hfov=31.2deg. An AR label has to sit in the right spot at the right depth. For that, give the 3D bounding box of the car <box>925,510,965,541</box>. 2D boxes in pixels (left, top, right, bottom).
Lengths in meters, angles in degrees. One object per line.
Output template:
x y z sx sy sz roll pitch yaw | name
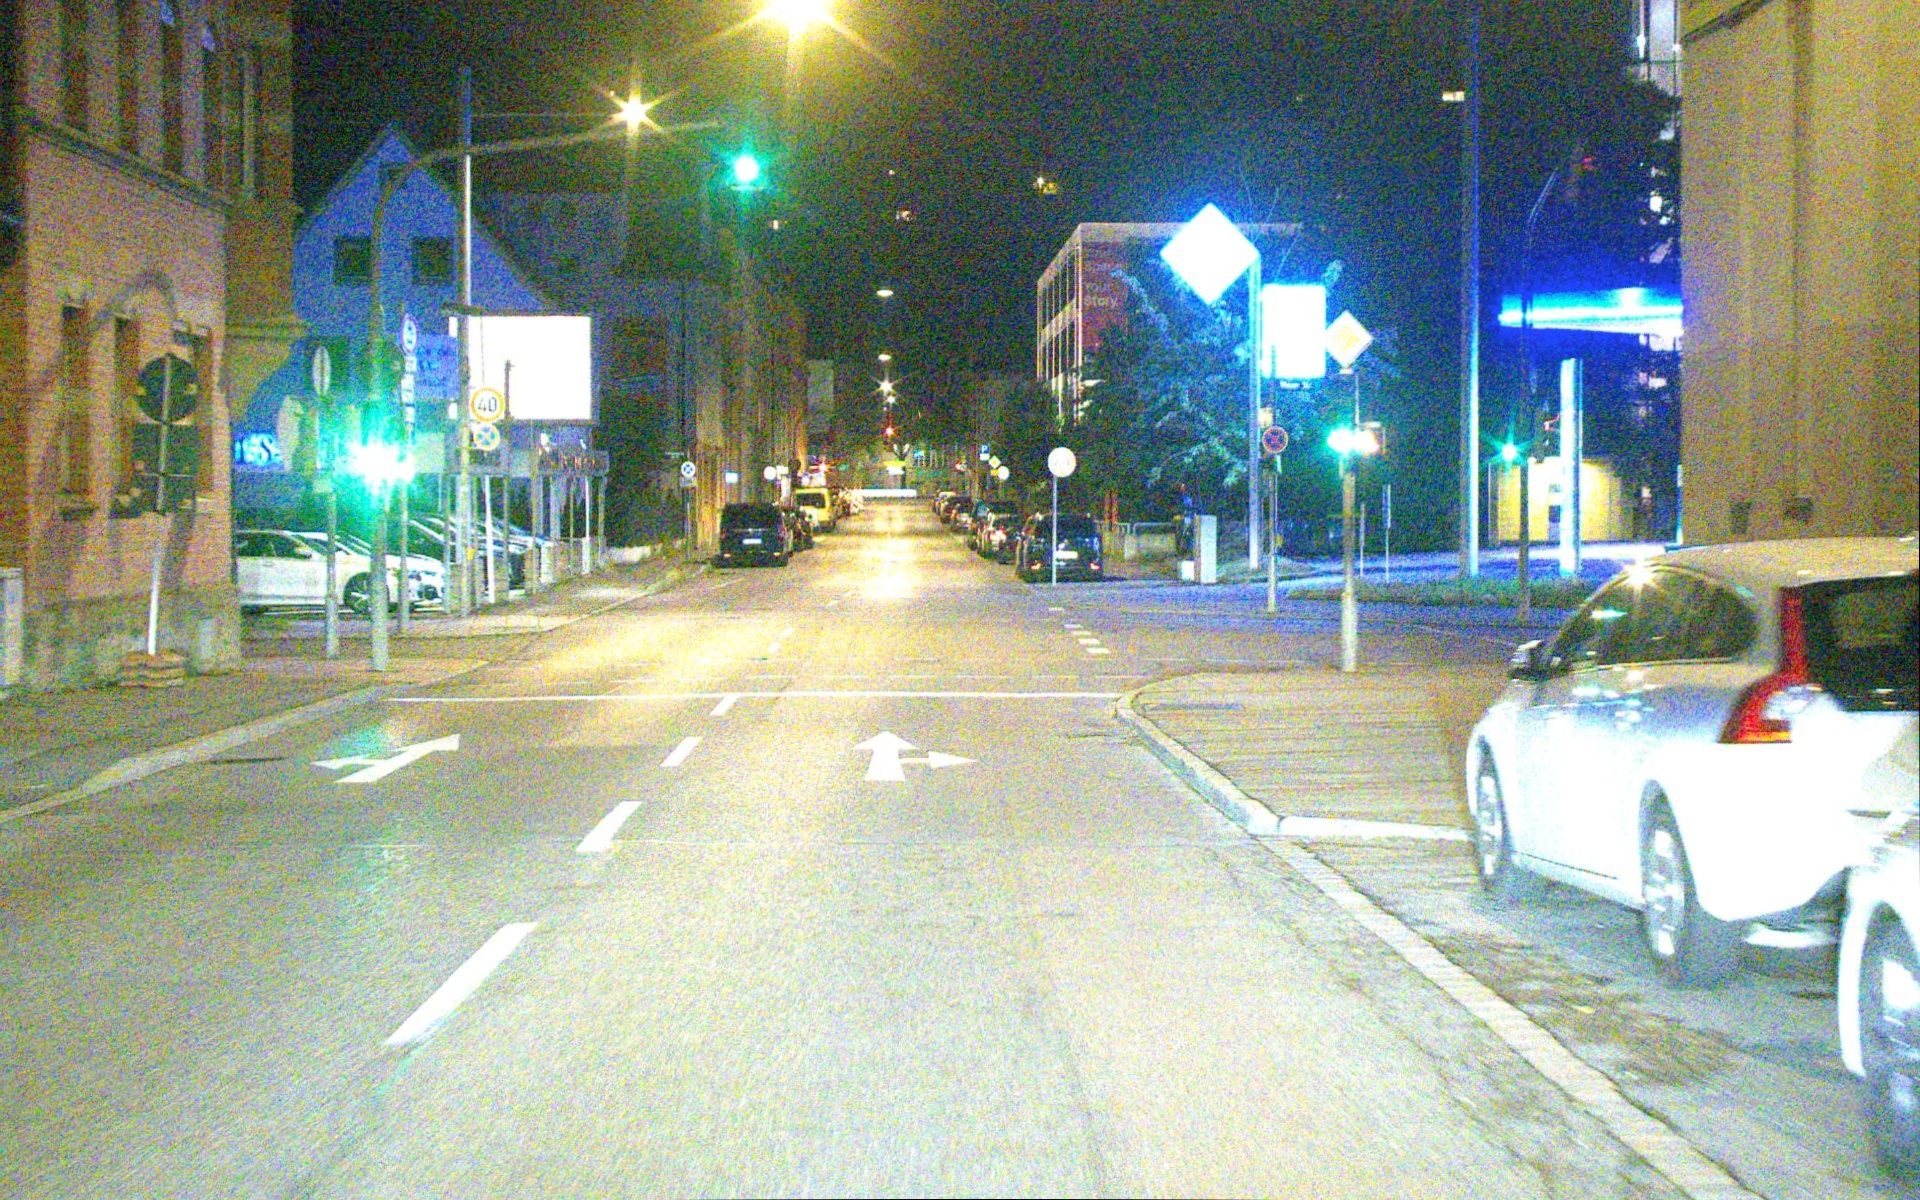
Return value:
-0.746 -3.829 176.872 1.993 1.515 4.000 0 1 1 | car

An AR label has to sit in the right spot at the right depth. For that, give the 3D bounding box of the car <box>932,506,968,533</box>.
-0.568 -4.702 200.259 1.993 1.515 4.000 0 1 1 | car

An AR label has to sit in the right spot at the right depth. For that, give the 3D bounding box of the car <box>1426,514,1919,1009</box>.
3.076 0.467 12.625 1.859 1.484 4.547 0 1 -3 | car

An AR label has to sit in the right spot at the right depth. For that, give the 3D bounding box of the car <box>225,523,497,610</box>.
-10.383 -0.583 59.842 4.438 1.444 2.000 0 0 -2 | car

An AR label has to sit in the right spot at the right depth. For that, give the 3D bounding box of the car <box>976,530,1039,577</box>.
1.548 -1.505 111.973 1.993 1.515 4.000 0 1 1 | car

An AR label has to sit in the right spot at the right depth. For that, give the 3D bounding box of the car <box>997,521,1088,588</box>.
2.024 -1.145 85.622 1.993 1.590 4.001 1 1 -2 | car

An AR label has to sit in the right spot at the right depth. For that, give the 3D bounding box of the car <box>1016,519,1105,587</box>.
2.325 -1.122 80.712 1.993 1.511 4.000 1 1 1 | car

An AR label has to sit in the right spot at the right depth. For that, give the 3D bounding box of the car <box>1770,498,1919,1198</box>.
3.066 0.563 6.456 1.774 1.539 4.547 0 1 -3 | car

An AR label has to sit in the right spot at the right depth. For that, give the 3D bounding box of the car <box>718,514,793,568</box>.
-5.883 -1.686 99.210 1.993 1.497 4.000 0 1 -1 | car

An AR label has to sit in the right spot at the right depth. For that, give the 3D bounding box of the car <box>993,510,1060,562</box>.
2.007 -1.937 104.547 1.993 1.515 4.000 0 1 1 | car

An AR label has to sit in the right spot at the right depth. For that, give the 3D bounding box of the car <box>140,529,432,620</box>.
-11.079 -0.426 56.695 4.438 1.444 2.000 0 0 -1 | car

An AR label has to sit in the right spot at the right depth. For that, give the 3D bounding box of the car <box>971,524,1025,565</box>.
1.414 -2.082 129.191 1.993 1.515 4.000 0 1 1 | car
